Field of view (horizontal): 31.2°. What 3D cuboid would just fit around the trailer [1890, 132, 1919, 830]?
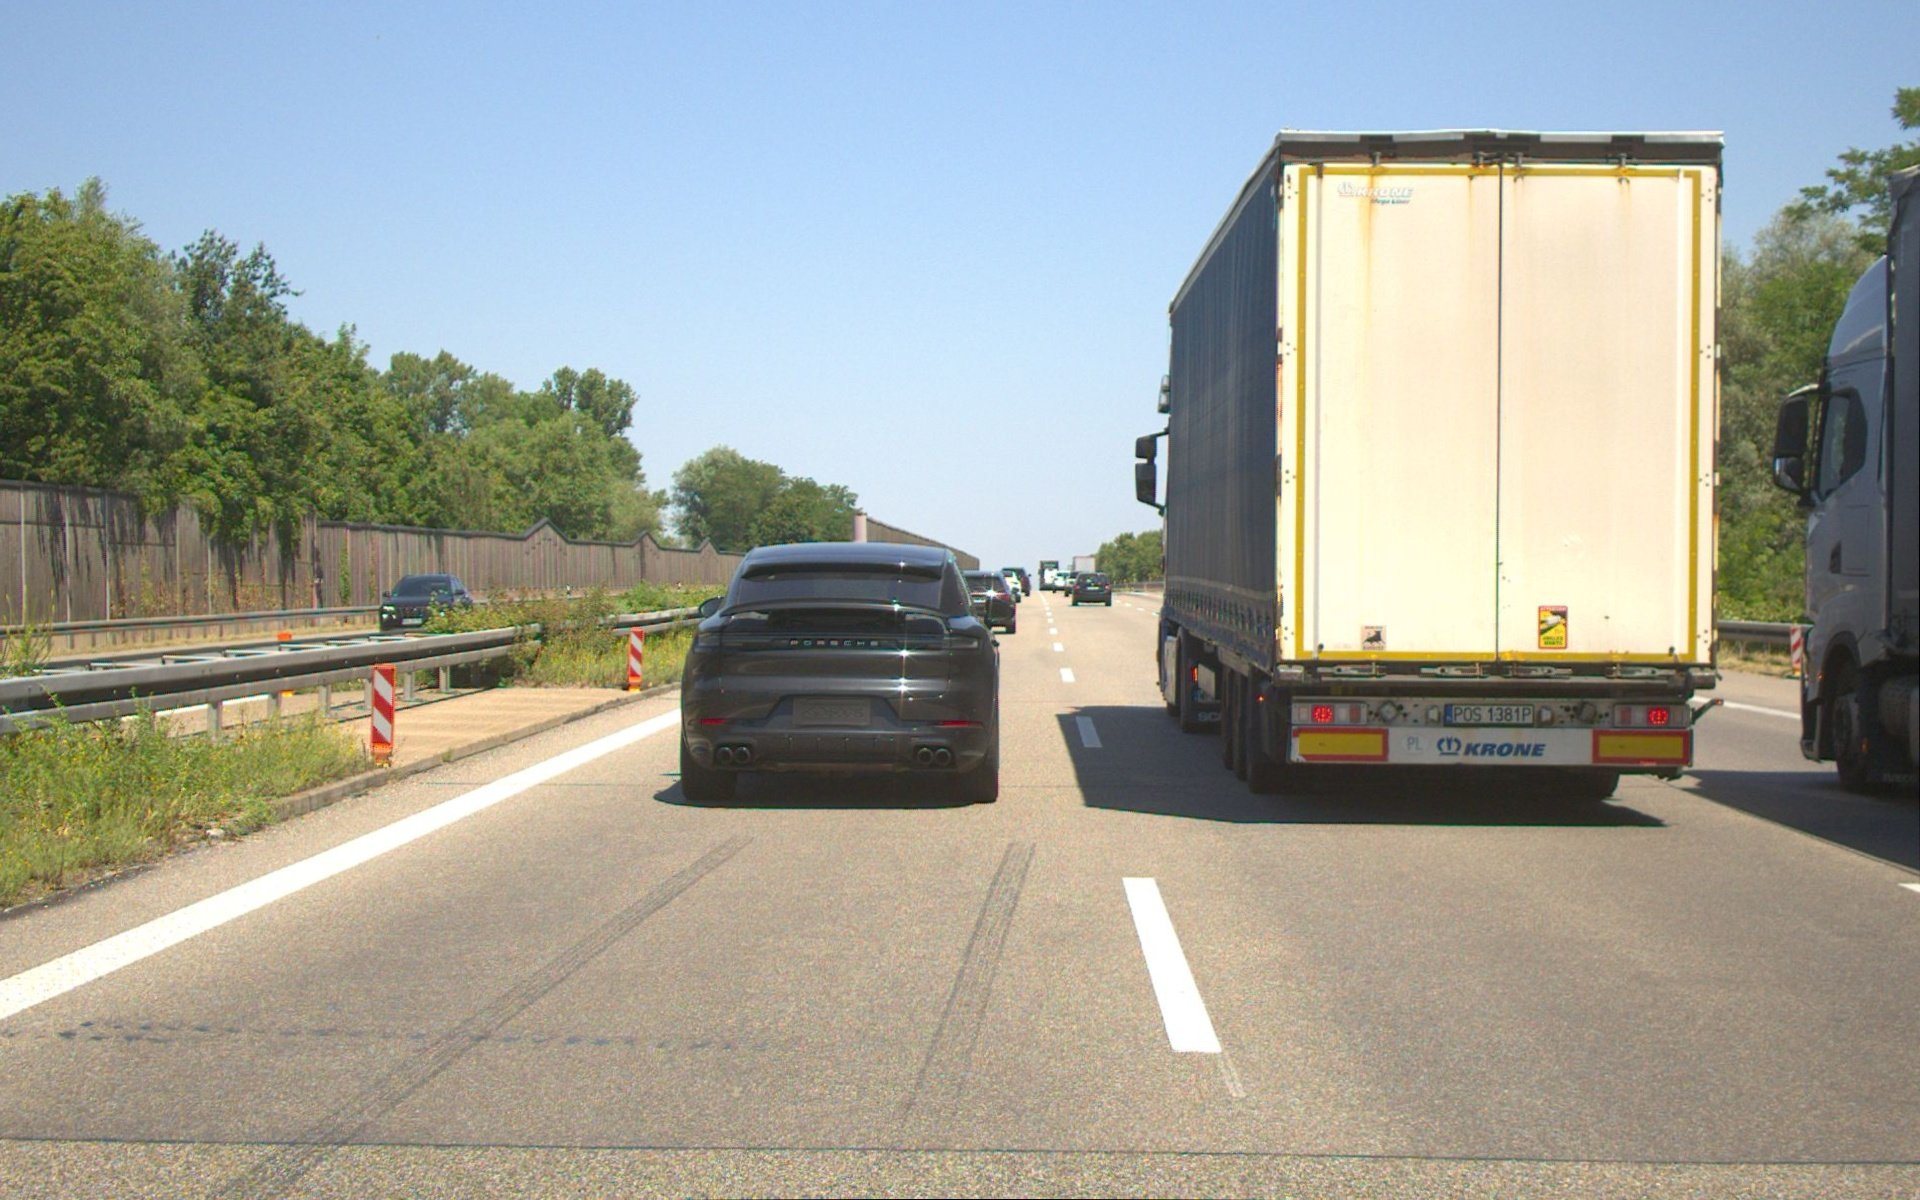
[{"bbox_3d":[7.056,-0.653,14.685,2.703,4.201,13.212,-1,1,1],"label":"trailer"}]

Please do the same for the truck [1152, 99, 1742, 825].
[{"bbox_3d":[3.128,-0.855,26.179,2.707,4.072,13.474,-1,1,1],"label":"truck"}]

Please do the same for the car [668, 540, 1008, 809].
[{"bbox_3d":[-0.721,0.399,23.534,2.043,1.619,5.772,0,1,0],"label":"car"}]

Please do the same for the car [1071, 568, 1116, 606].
[{"bbox_3d":[5.774,-0.582,148.881,1.855,1.611,4.000,1,1,1],"label":"car"}]

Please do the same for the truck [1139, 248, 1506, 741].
[{"bbox_3d":[3.210,-0.921,32.297,2.728,4.072,7.277,-1,1,1],"label":"truck"}]

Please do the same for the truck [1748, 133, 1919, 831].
[{"bbox_3d":[7.139,-0.724,21.462,2.691,4.201,7.838,-1,1,1],"label":"truck"}]

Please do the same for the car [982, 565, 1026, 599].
[{"bbox_3d":[2.054,-0.831,160.106,1.855,1.481,4.000,-2,1,3],"label":"car"}]

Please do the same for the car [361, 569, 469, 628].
[{"bbox_3d":[-14.019,-0.063,88.677,1.959,1.428,4.880,-1,1,0],"label":"car"}]

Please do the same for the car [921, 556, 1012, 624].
[{"bbox_3d":[0.192,-0.267,82.111,1.943,1.501,5.821,-1,1,2],"label":"car"}]

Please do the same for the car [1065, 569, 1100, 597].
[{"bbox_3d":[7.243,-1.008,203.407,1.855,1.611,4.000,-2,1,-1],"label":"car"}]

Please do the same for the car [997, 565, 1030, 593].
[{"bbox_3d":[3.148,-1.256,203.164,1.855,1.611,4.000,-2,1,0],"label":"car"}]
